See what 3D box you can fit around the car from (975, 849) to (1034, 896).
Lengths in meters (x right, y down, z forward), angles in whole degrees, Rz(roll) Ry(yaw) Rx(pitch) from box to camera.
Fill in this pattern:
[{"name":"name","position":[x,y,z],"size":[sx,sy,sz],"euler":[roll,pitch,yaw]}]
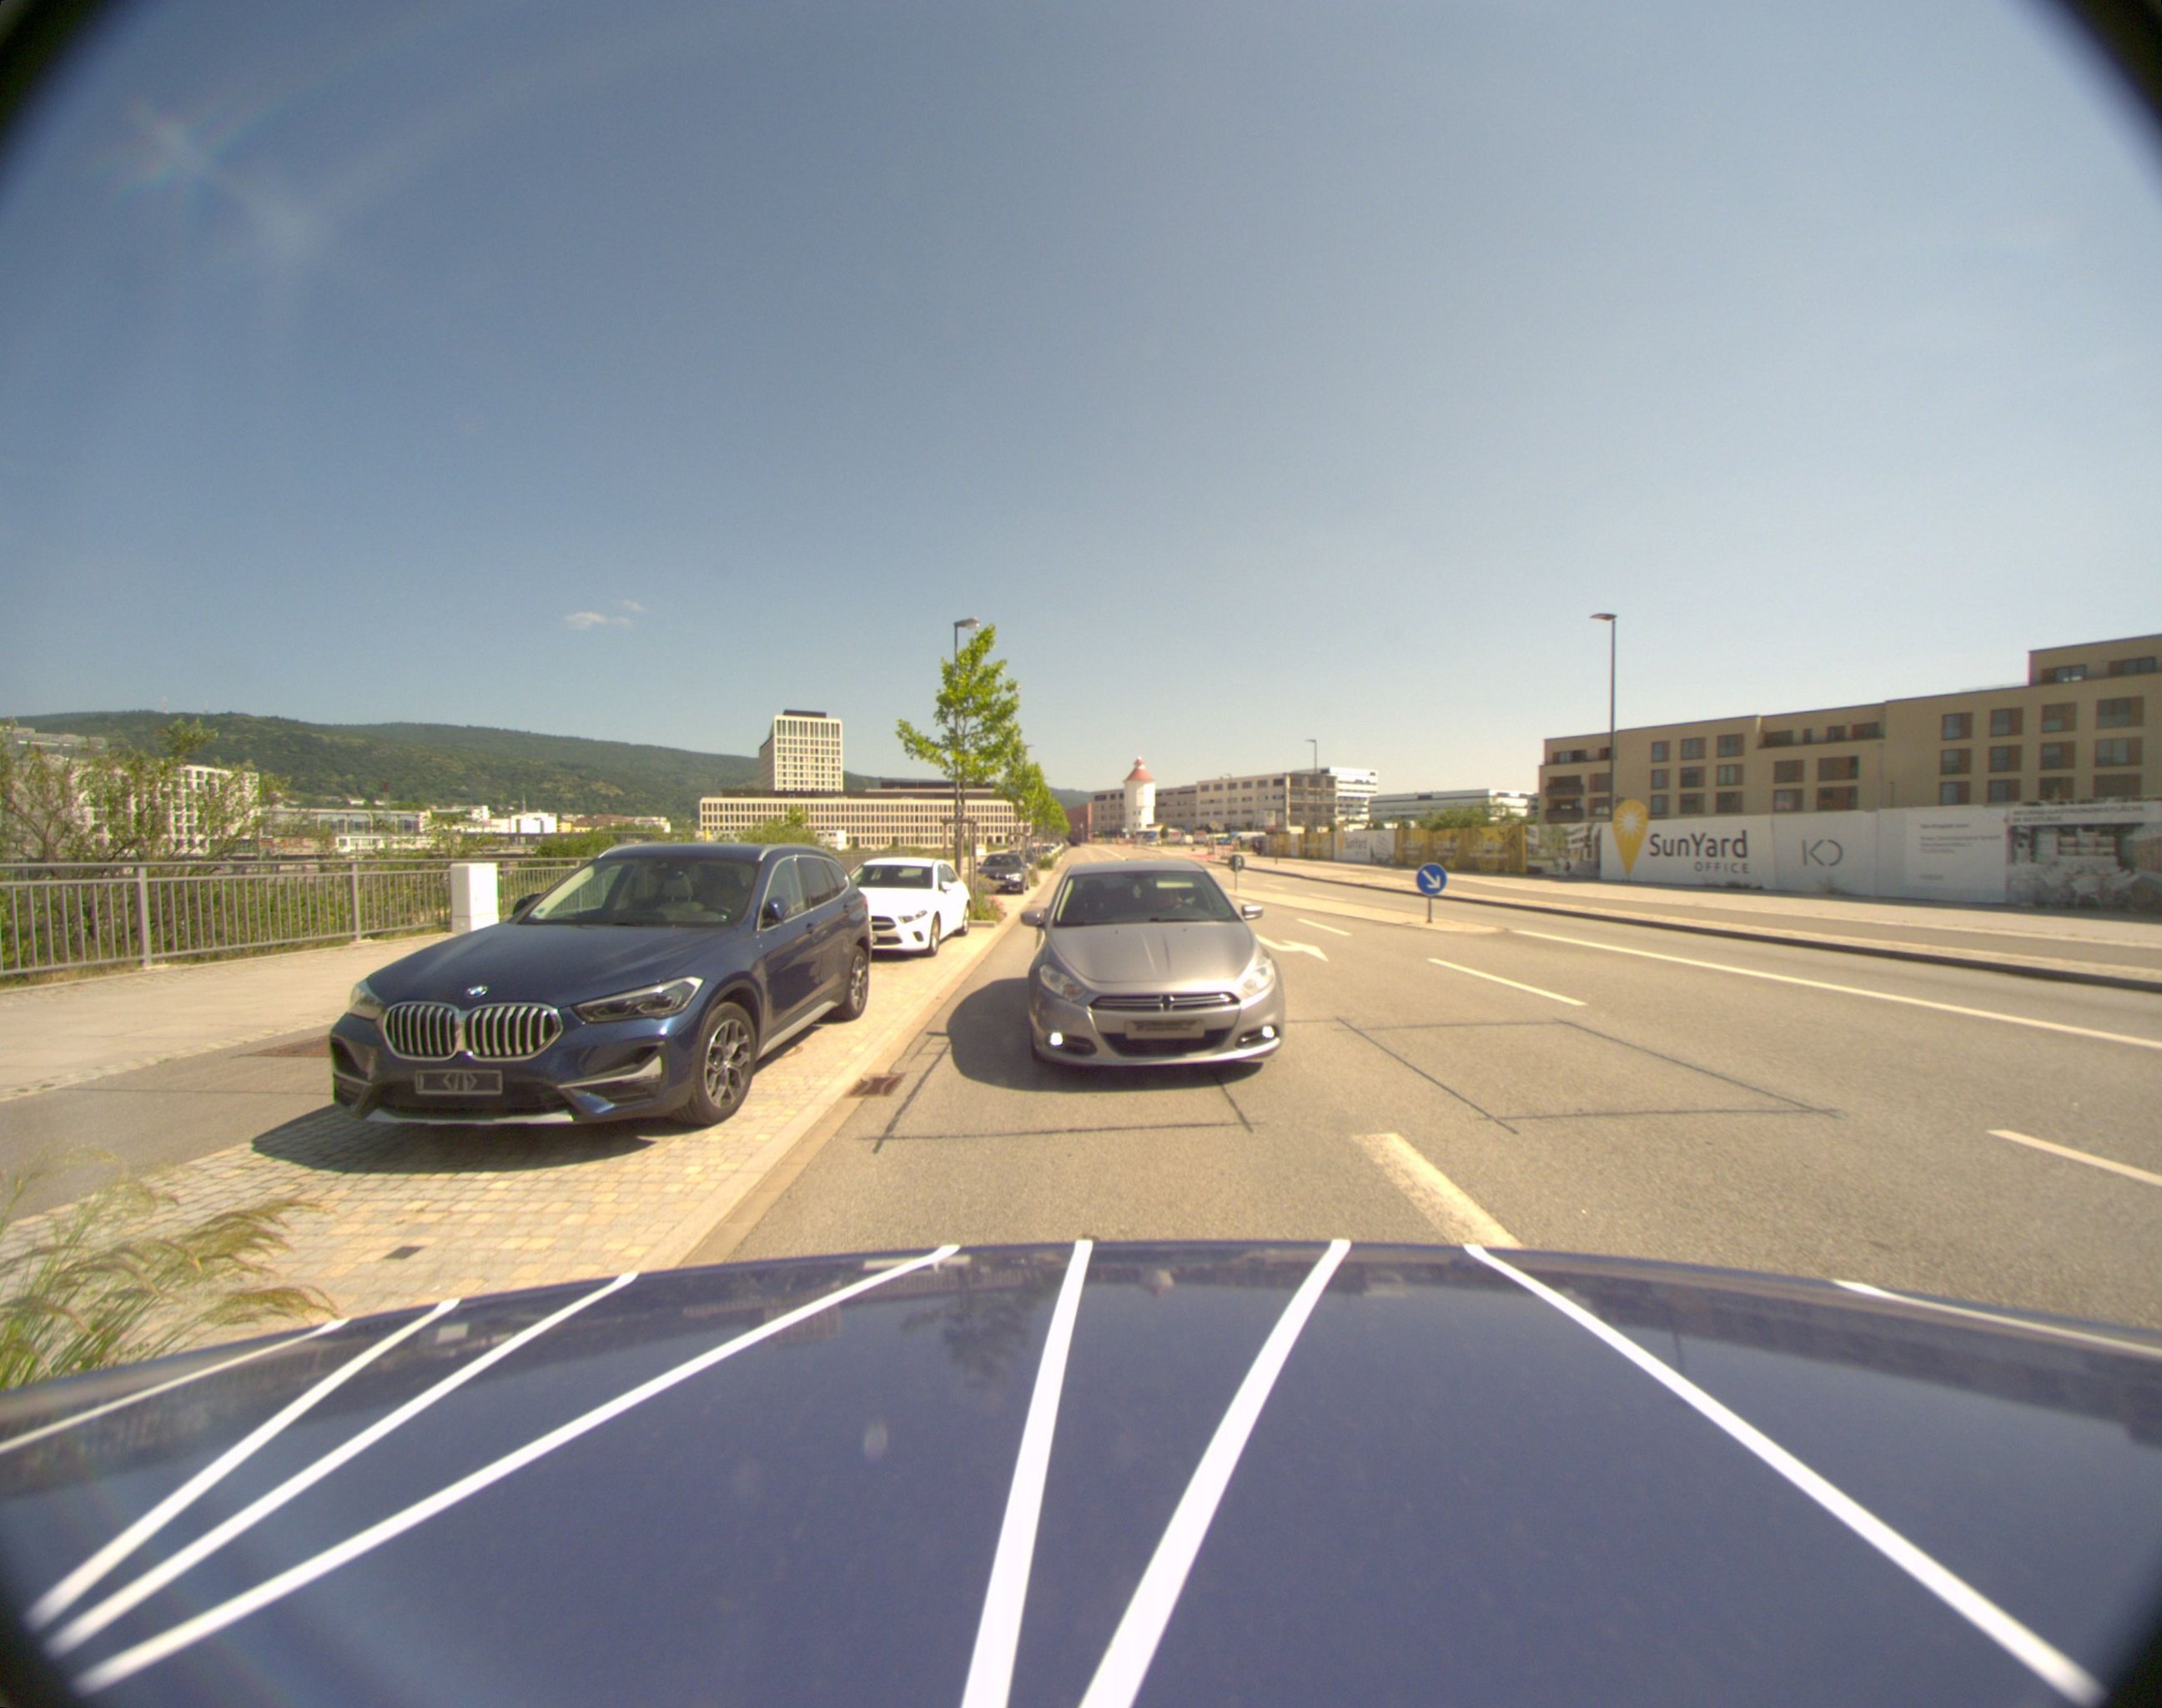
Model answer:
[{"name":"car","position":[-2.754,0.615,27.987],"size":[1.664,1.529,3.999],"euler":[-2,1,1]}]

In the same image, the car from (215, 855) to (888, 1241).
[{"name":"car","position":[-2.873,0.864,5.474],"size":[1.769,1.598,4.238],"euler":[-2,1,1]}]

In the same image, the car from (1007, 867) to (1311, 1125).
[{"name":"car","position":[0.497,0.898,6.651],"size":[1.784,1.372,4.135],"euler":[-2,1,1]}]

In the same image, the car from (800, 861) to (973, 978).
[{"name":"car","position":[-2.913,0.900,12.276],"size":[1.664,1.447,3.999],"euler":[-2,1,1]}]

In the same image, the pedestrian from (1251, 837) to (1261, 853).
[{"name":"pedestrian","position":[17.819,-0.922,77.417],"size":[0.705,1.577,0.617],"euler":[-3,1,-36]}]
